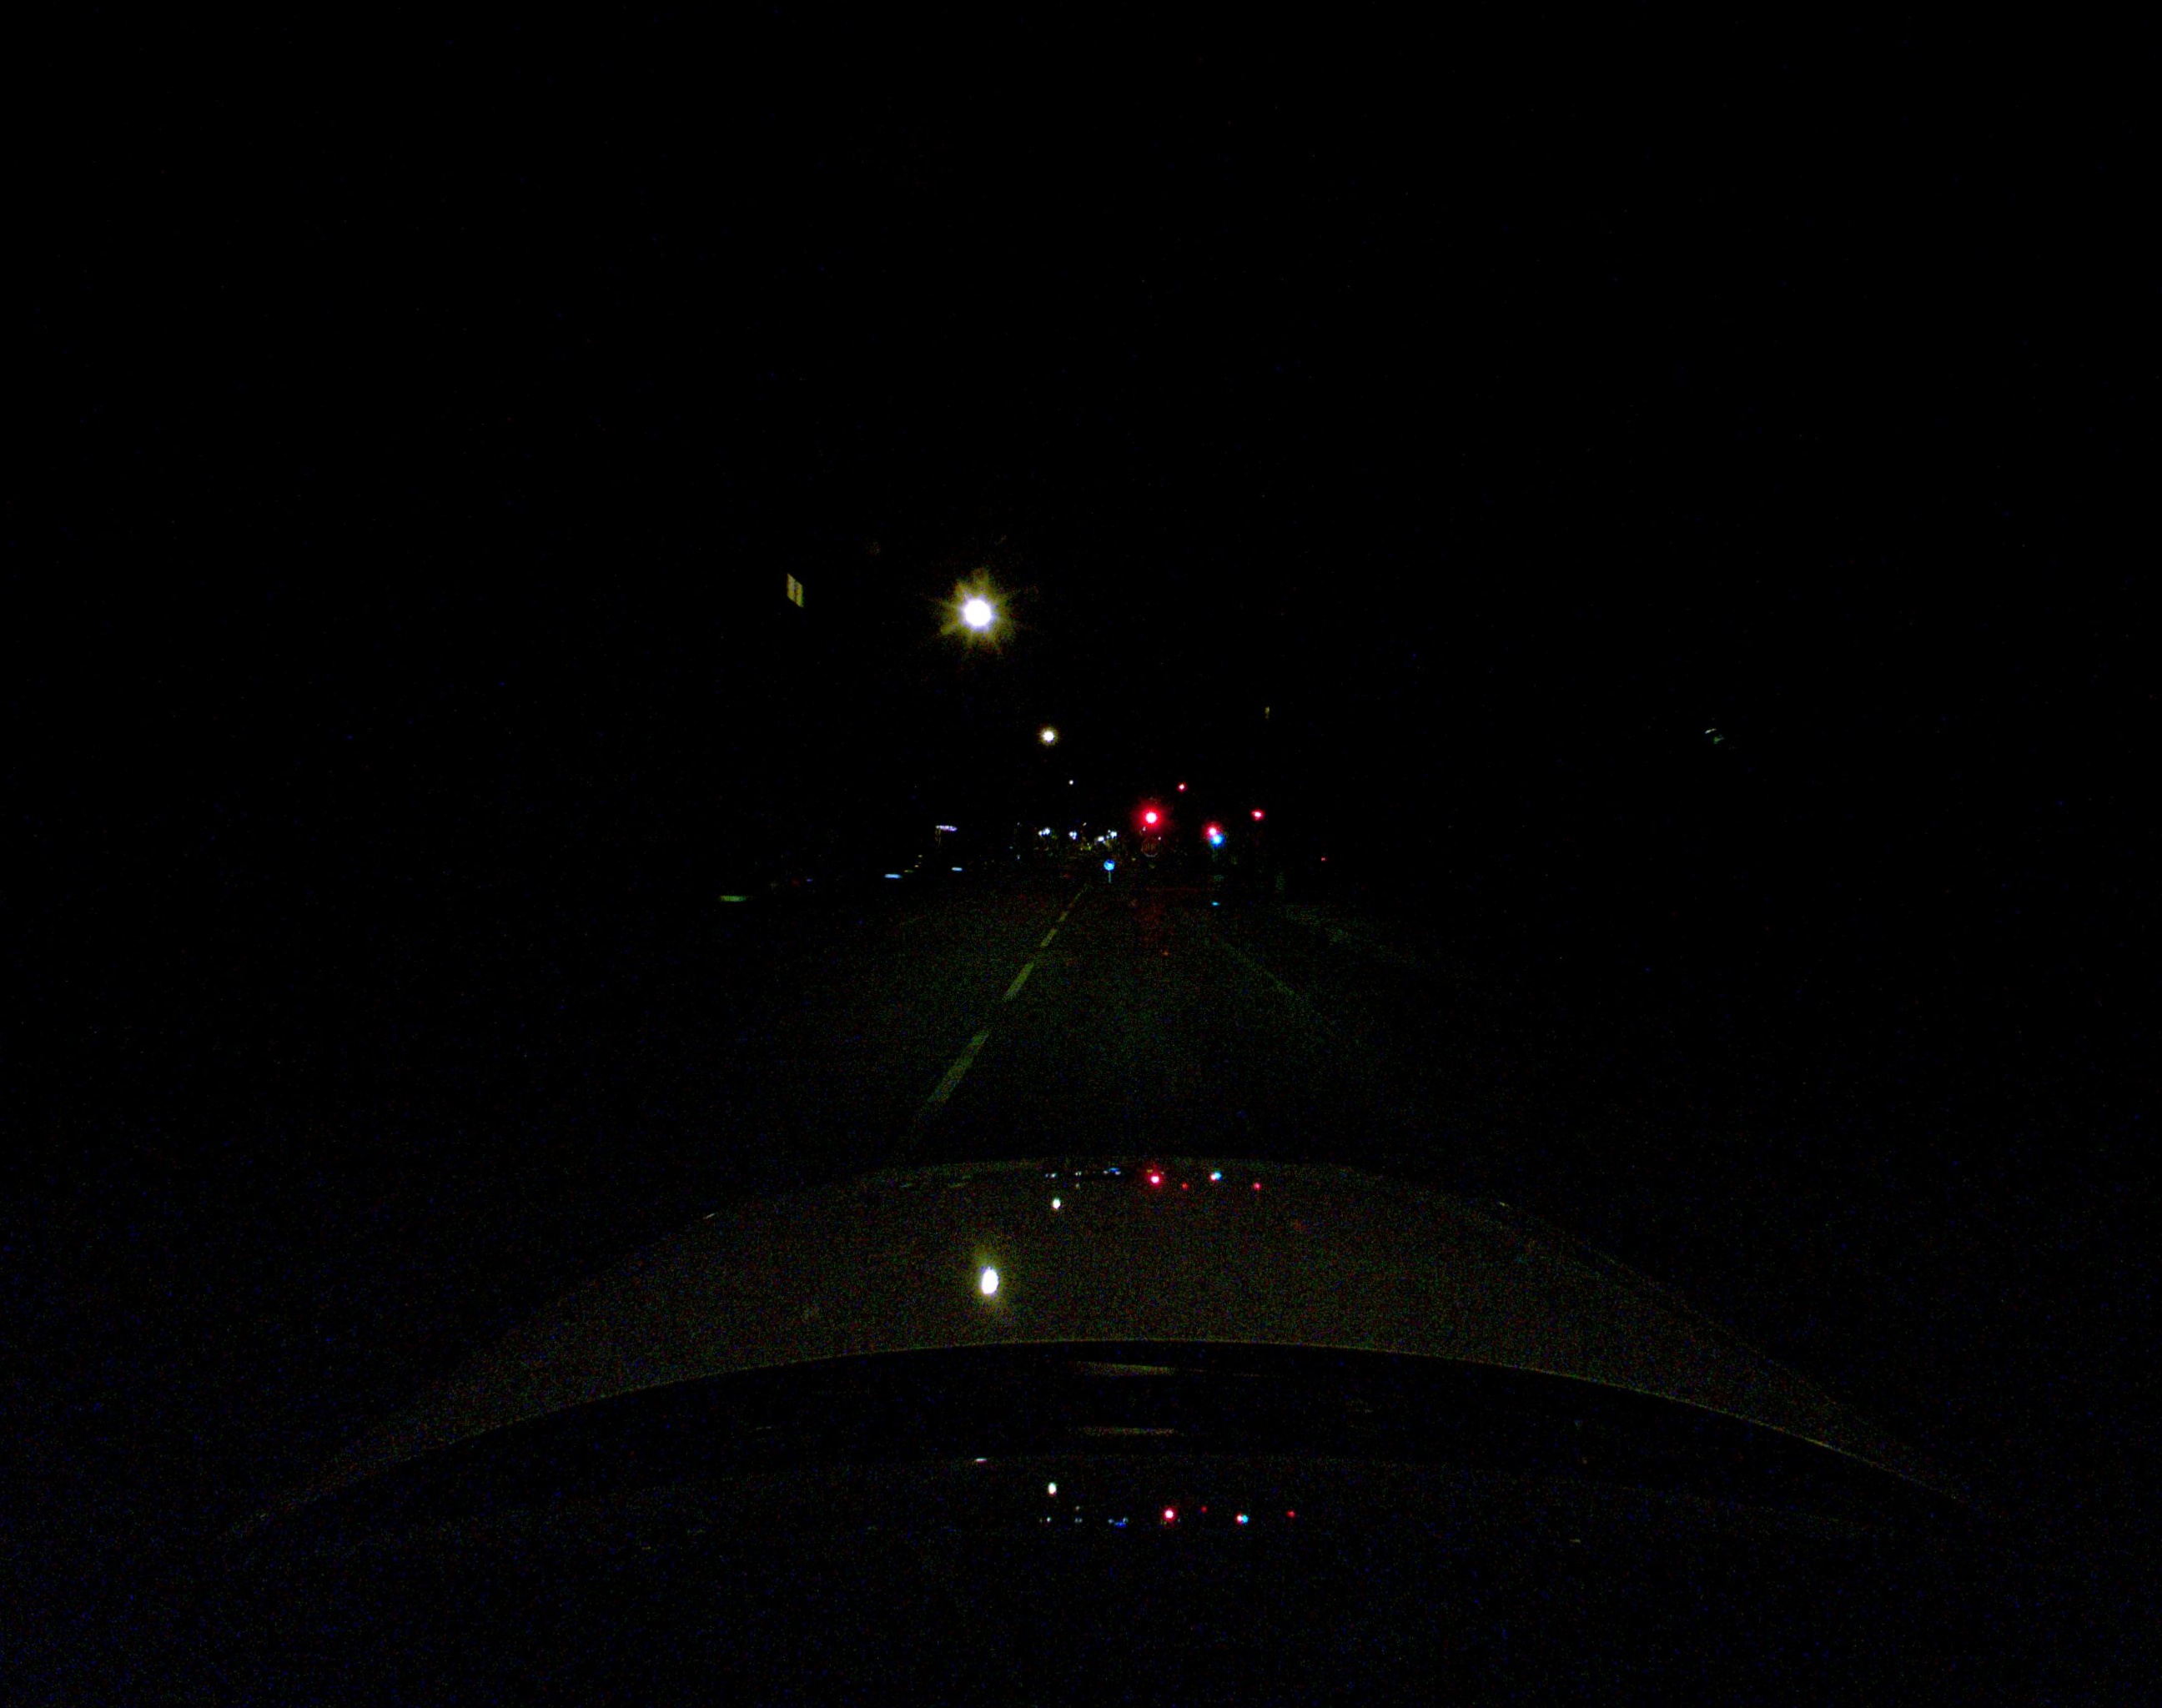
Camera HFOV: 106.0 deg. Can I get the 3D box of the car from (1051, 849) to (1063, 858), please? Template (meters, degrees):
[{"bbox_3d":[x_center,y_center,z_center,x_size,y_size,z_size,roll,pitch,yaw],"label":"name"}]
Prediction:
[{"bbox_3d":[-3.713,-0.113,127.953,1.645,1.431,4.002,0,0,2],"label":"car"}]

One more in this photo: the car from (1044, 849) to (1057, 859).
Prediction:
[{"bbox_3d":[-4.259,-0.013,114.220,1.645,1.431,4.002,0,0,2],"label":"car"}]

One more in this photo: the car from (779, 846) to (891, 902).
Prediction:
[{"bbox_3d":[-7.122,0.542,24.138,1.762,1.486,4.864,0,0,1],"label":"car"}]

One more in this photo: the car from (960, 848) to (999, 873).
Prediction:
[{"bbox_3d":[-6.241,0.387,50.633,1.797,1.481,4.324,1,0,1],"label":"car"}]

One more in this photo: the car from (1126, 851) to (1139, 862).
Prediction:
[{"bbox_3d":[6.511,0.286,103.650,1.644,1.431,4.003,0,0,3],"label":"car"}]

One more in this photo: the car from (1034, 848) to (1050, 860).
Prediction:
[{"bbox_3d":[-4.846,0.039,101.326,1.645,1.431,4.002,0,0,2],"label":"car"}]

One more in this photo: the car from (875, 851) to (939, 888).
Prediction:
[{"bbox_3d":[-6.857,0.568,32.480,1.617,1.382,4.450,0,0,-1],"label":"car"}]

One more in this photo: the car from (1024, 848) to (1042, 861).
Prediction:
[{"bbox_3d":[-5.511,0.055,93.291,1.645,1.431,4.002,0,0,2],"label":"car"}]

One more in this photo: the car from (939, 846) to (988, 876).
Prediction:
[{"bbox_3d":[-6.527,0.352,45.641,1.892,1.471,4.454,3,1,2],"label":"car"}]

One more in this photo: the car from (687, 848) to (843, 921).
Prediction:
[{"bbox_3d":[-7.150,0.626,19.031,1.762,1.486,4.767,0,0,0],"label":"car"}]
